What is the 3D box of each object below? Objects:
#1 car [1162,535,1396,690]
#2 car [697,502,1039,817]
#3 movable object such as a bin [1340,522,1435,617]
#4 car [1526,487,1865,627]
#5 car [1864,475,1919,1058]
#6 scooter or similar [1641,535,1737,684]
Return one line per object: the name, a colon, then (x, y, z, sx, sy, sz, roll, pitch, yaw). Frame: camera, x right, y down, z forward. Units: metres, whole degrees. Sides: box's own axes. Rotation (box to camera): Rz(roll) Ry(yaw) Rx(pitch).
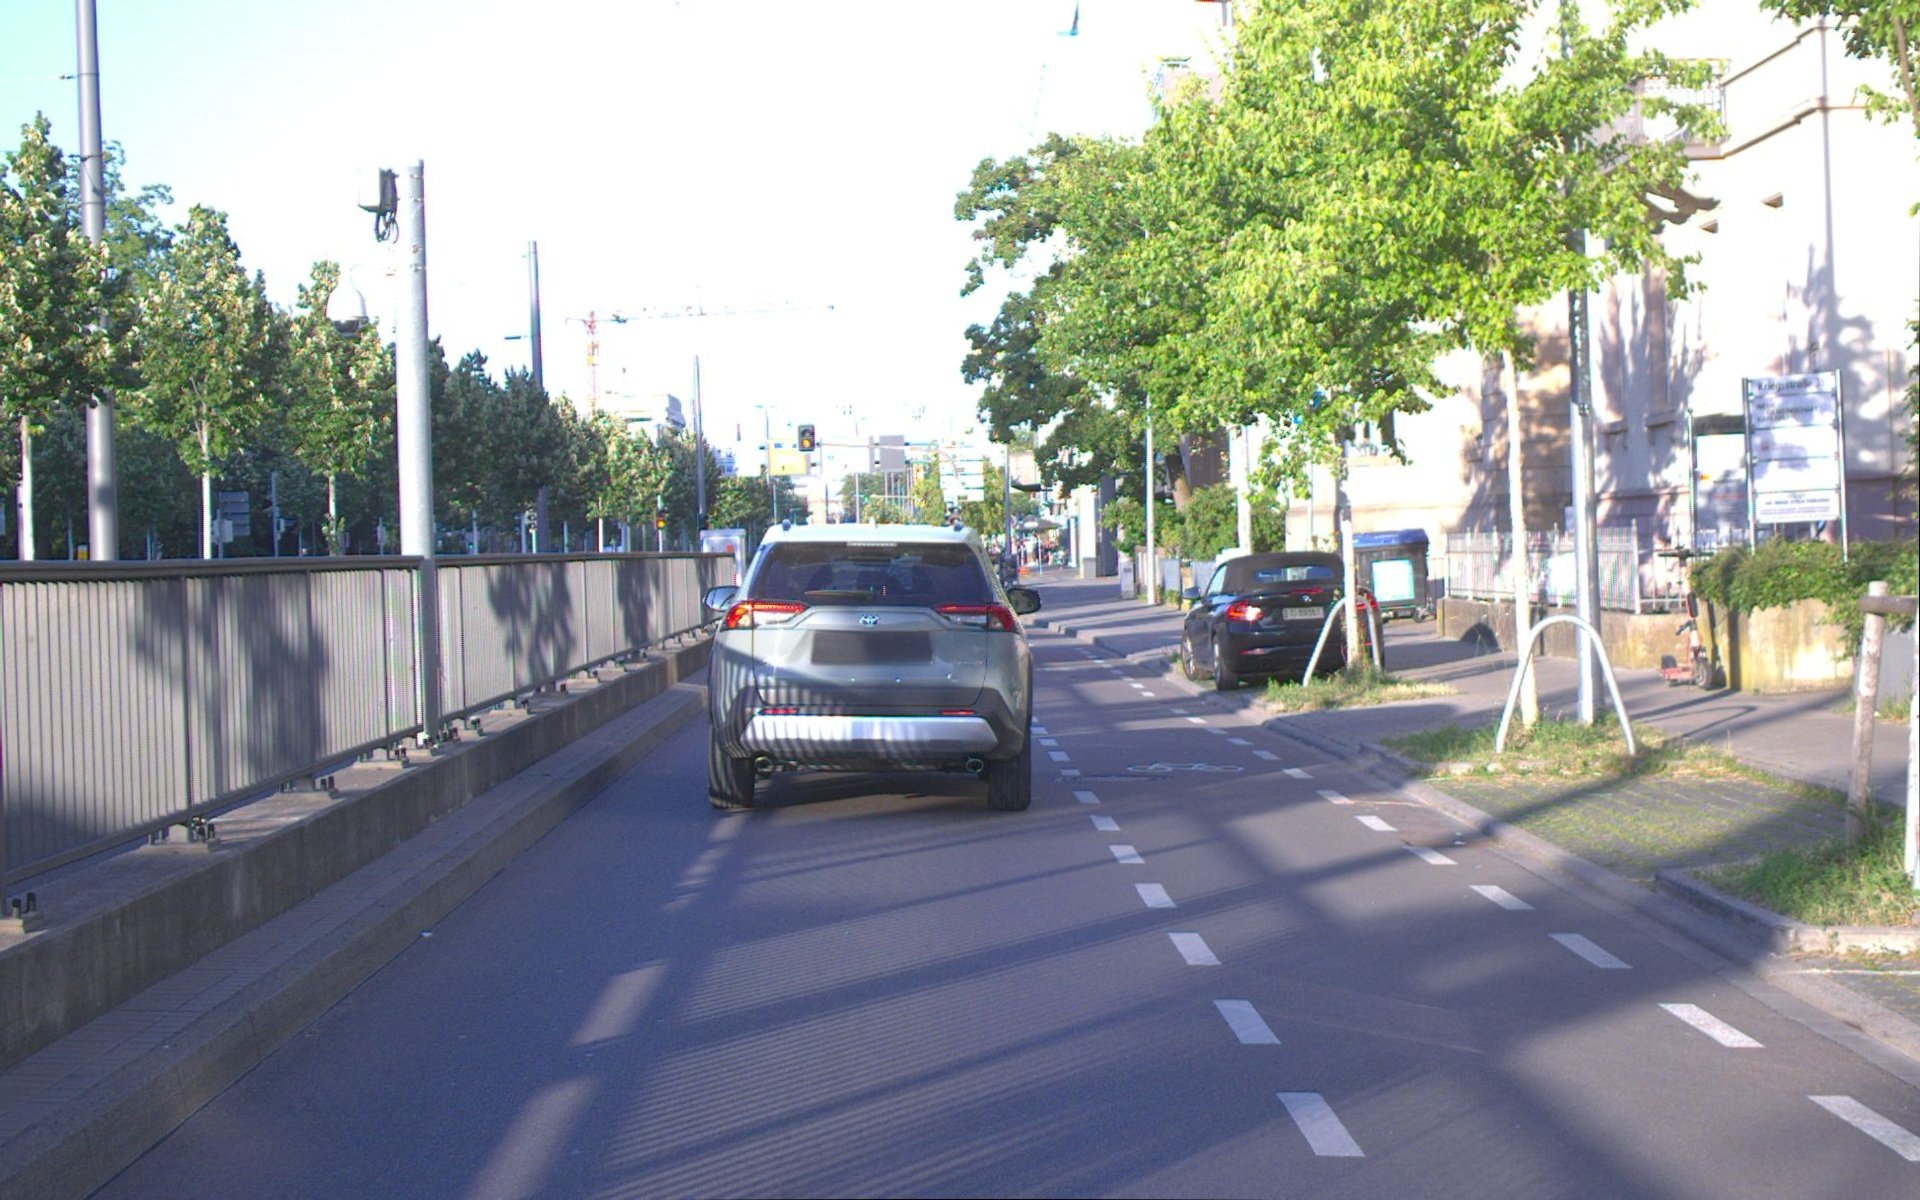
car: (3.409, 0.085, 37.569, 1.792, 1.466, 4.446, -4, 1, -3)
car: (-0.593, 0.296, 20.953, 1.857, 1.708, 4.193, 1, 1, -2)
movable object such as a bin: (6.652, -0.479, 53.542, 1.260, 1.457, 1.124, -1, 1, -4)
car: (10.090, -0.602, 47.430, 4.195, 1.565, 1.916, -5, 1, 2)
car: (3.783, 0.504, 8.371, 1.854, 1.701, 4.255, -1, 1, -2)
scooter or similar: (6.245, 0.076, 29.498, 0.490, 1.254, 1.209, 0, 0, -4)
